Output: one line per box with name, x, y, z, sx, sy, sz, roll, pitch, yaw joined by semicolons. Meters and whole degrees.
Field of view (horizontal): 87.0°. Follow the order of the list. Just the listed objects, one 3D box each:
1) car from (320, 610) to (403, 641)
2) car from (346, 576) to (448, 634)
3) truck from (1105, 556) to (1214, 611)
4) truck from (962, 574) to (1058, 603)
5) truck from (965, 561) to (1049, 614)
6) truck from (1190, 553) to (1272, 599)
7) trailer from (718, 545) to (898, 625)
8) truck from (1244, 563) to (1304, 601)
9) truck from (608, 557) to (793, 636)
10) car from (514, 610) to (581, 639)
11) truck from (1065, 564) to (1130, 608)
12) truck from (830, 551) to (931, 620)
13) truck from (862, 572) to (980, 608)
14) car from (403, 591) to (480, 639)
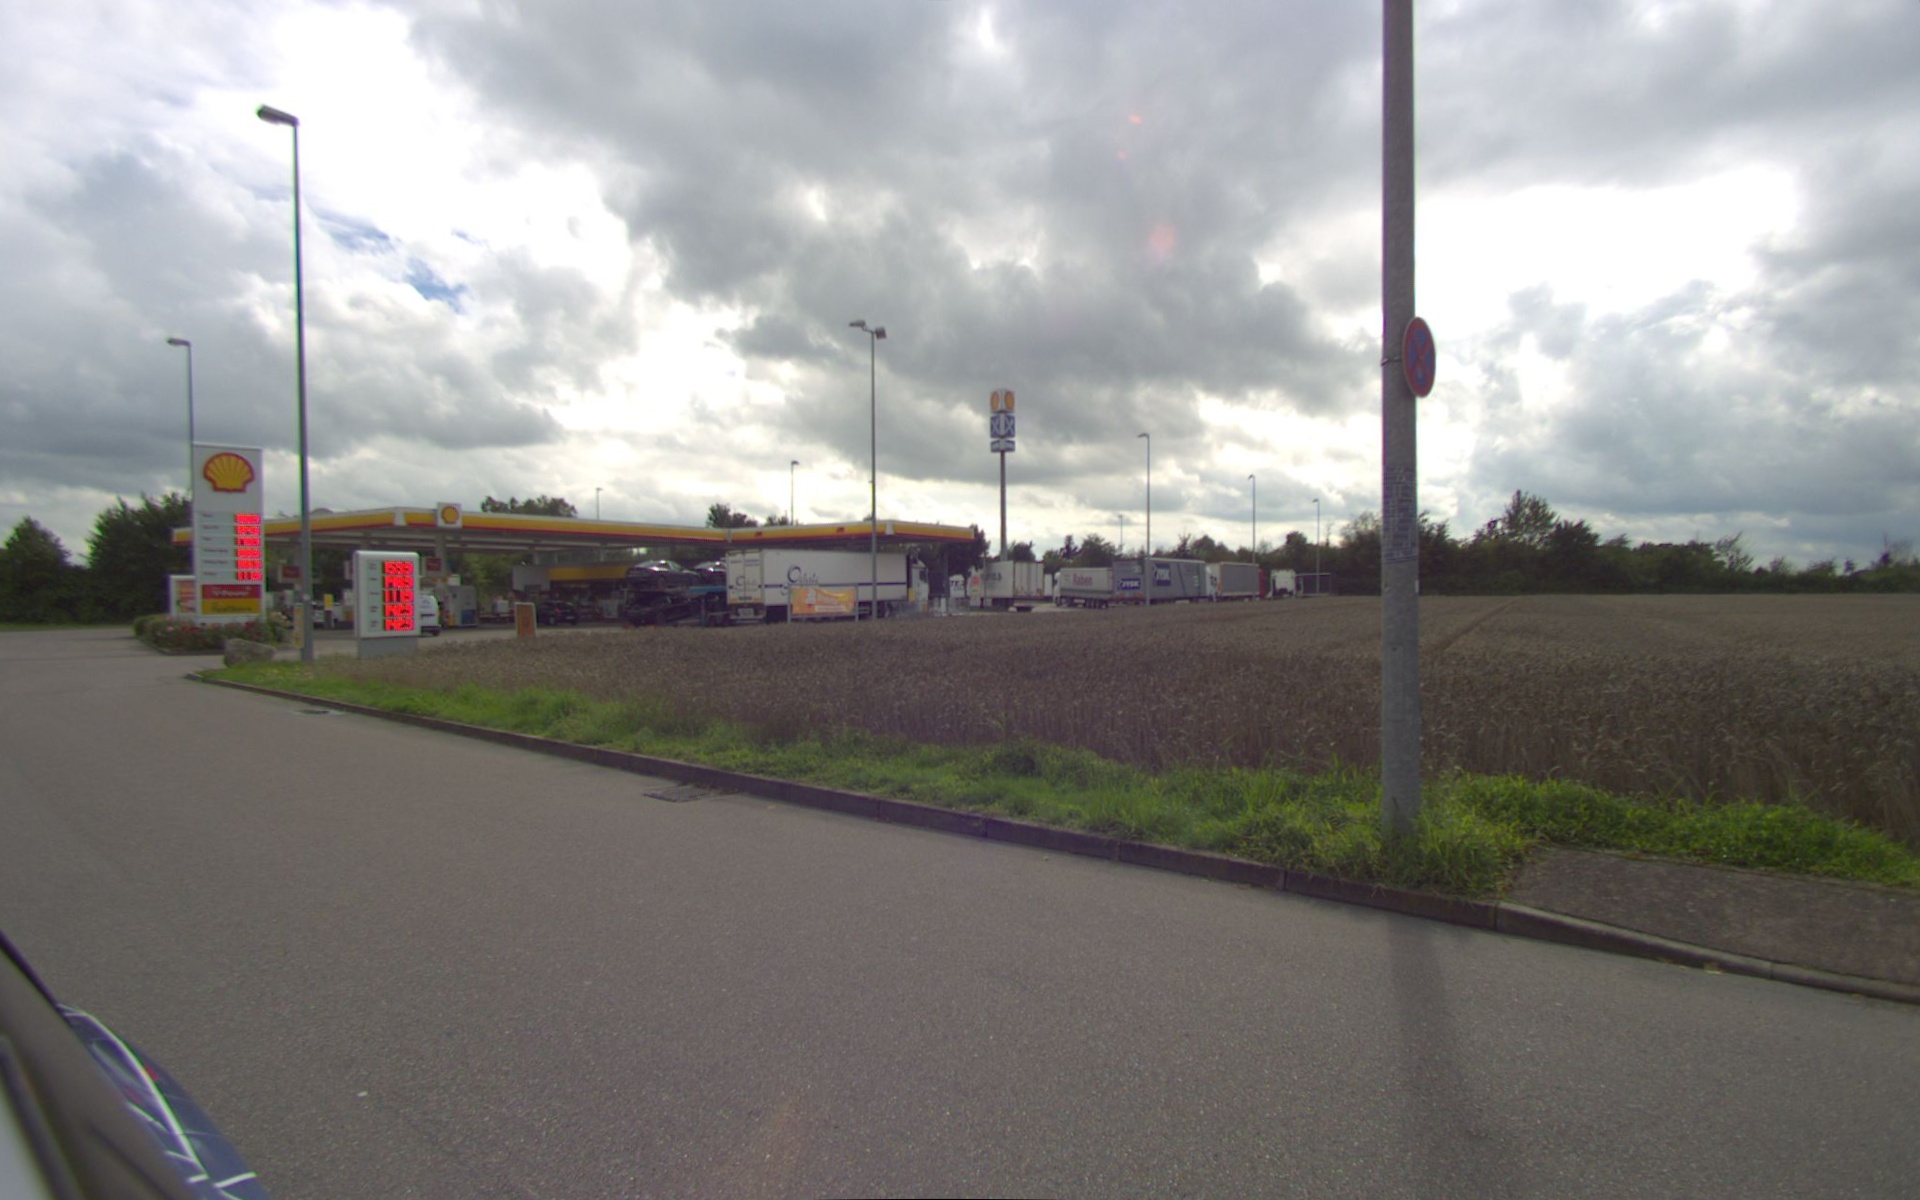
car;-32.501;1.356;55.076;1.974;1.571;3.957;-1;0;3
car;-29.368;0.235;53.071;2.193;2.808;5.809;-1;0;-1
truck;15.786;-1.267;78.558;2.816;3.922;15.288;0;1;33
truck;6.717;-1.573;136.633;12.593;3.922;2.832;-1;1;-14
truck;3.731;-1.040;86.263;2.913;4.143;14.790;0;1;-14
truck;25.554;-2.173;94.689;2.816;3.922;15.288;0;1;33
trailer;-8.272;-0.815;57.899;2.702;4.055;12.714;-1;0;31
truck;34.292;-1.936;110.104;2.816;3.922;12.665;0;1;33
truck;-14.200;-0.245;57.346;2.734;3.953;13.156;0;1;23
car;-24.911;1.475;61.111;3.743;1.613;1.701;-1;0;28
truck;13.669;-1.344;101.897;2.946;4.142;11.599;-1;0;-10
truck;-4.863;-0.906;63.671;2.703;4.055;7.094;-1;0;31
truck;-4.362;-1.103;113.252;12.797;3.922;2.832;0;1;-13
car;-23.223;0.657;45.467;1.769;2.027;3.886;-1;0;-5
